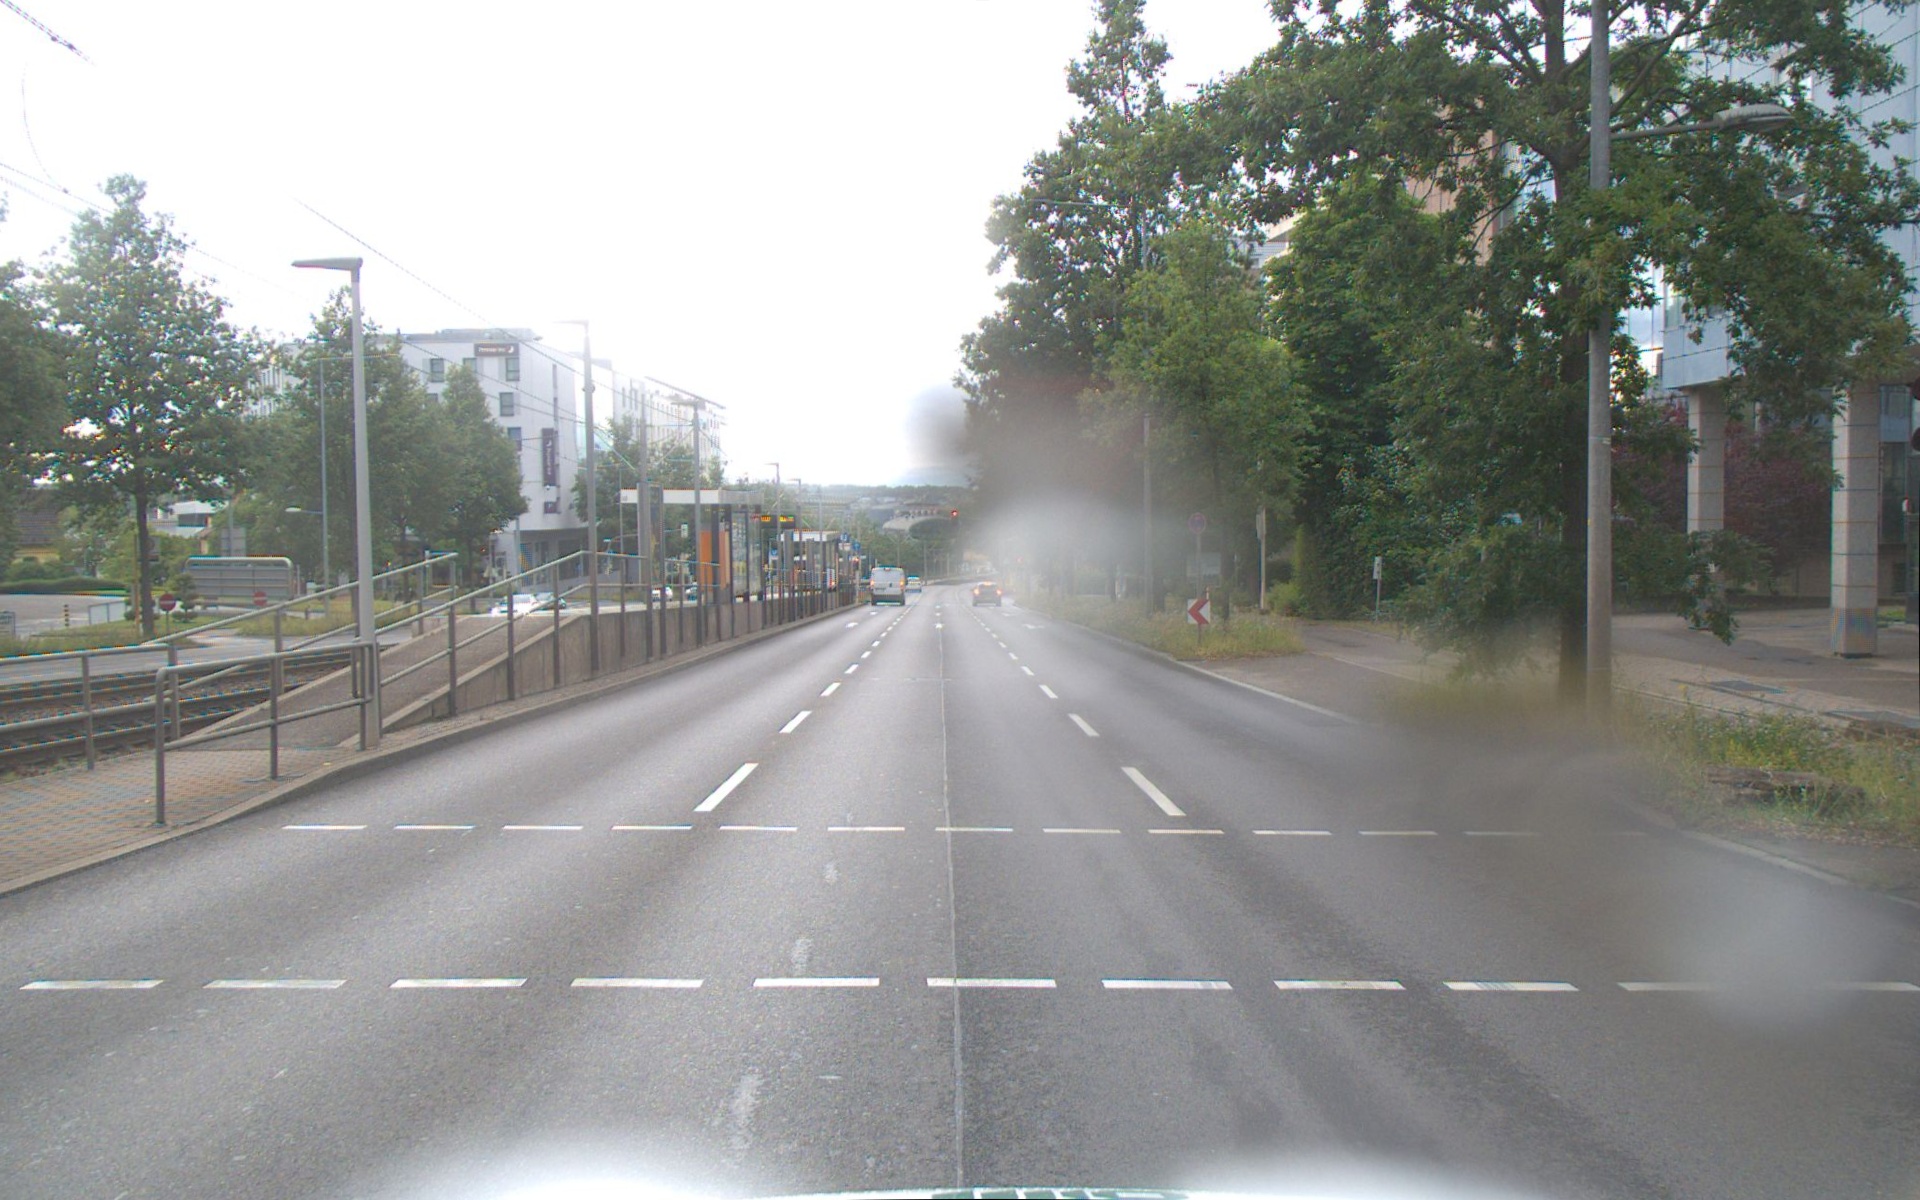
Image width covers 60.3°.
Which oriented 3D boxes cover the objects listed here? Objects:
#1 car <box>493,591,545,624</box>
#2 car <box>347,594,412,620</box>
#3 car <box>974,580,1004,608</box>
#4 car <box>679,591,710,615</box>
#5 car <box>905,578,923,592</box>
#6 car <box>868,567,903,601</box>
[{"bbox_3d":[-20.786,0.347,78.035,1.618,1.461,3.876,-2,1,-4],"label":"car"},{"bbox_3d":[-33.468,0.399,95.410,3.297,1.411,1.434,0,1,16],"label":"car"},{"bbox_3d":[1.799,-0.400,102.813,1.738,1.720,3.845,0,1,-1],"label":"car"},{"bbox_3d":[-17.227,0.168,107.308,1.622,1.461,3.866,-2,1,-14],"label":"car"},{"bbox_3d":[-4.712,-1.540,169.560,1.746,1.414,4.000,0,1,0],"label":"car"},{"bbox_3d":[-4.577,-0.982,102.386,2.050,2.089,4.605,0,1,-1],"label":"car"}]
